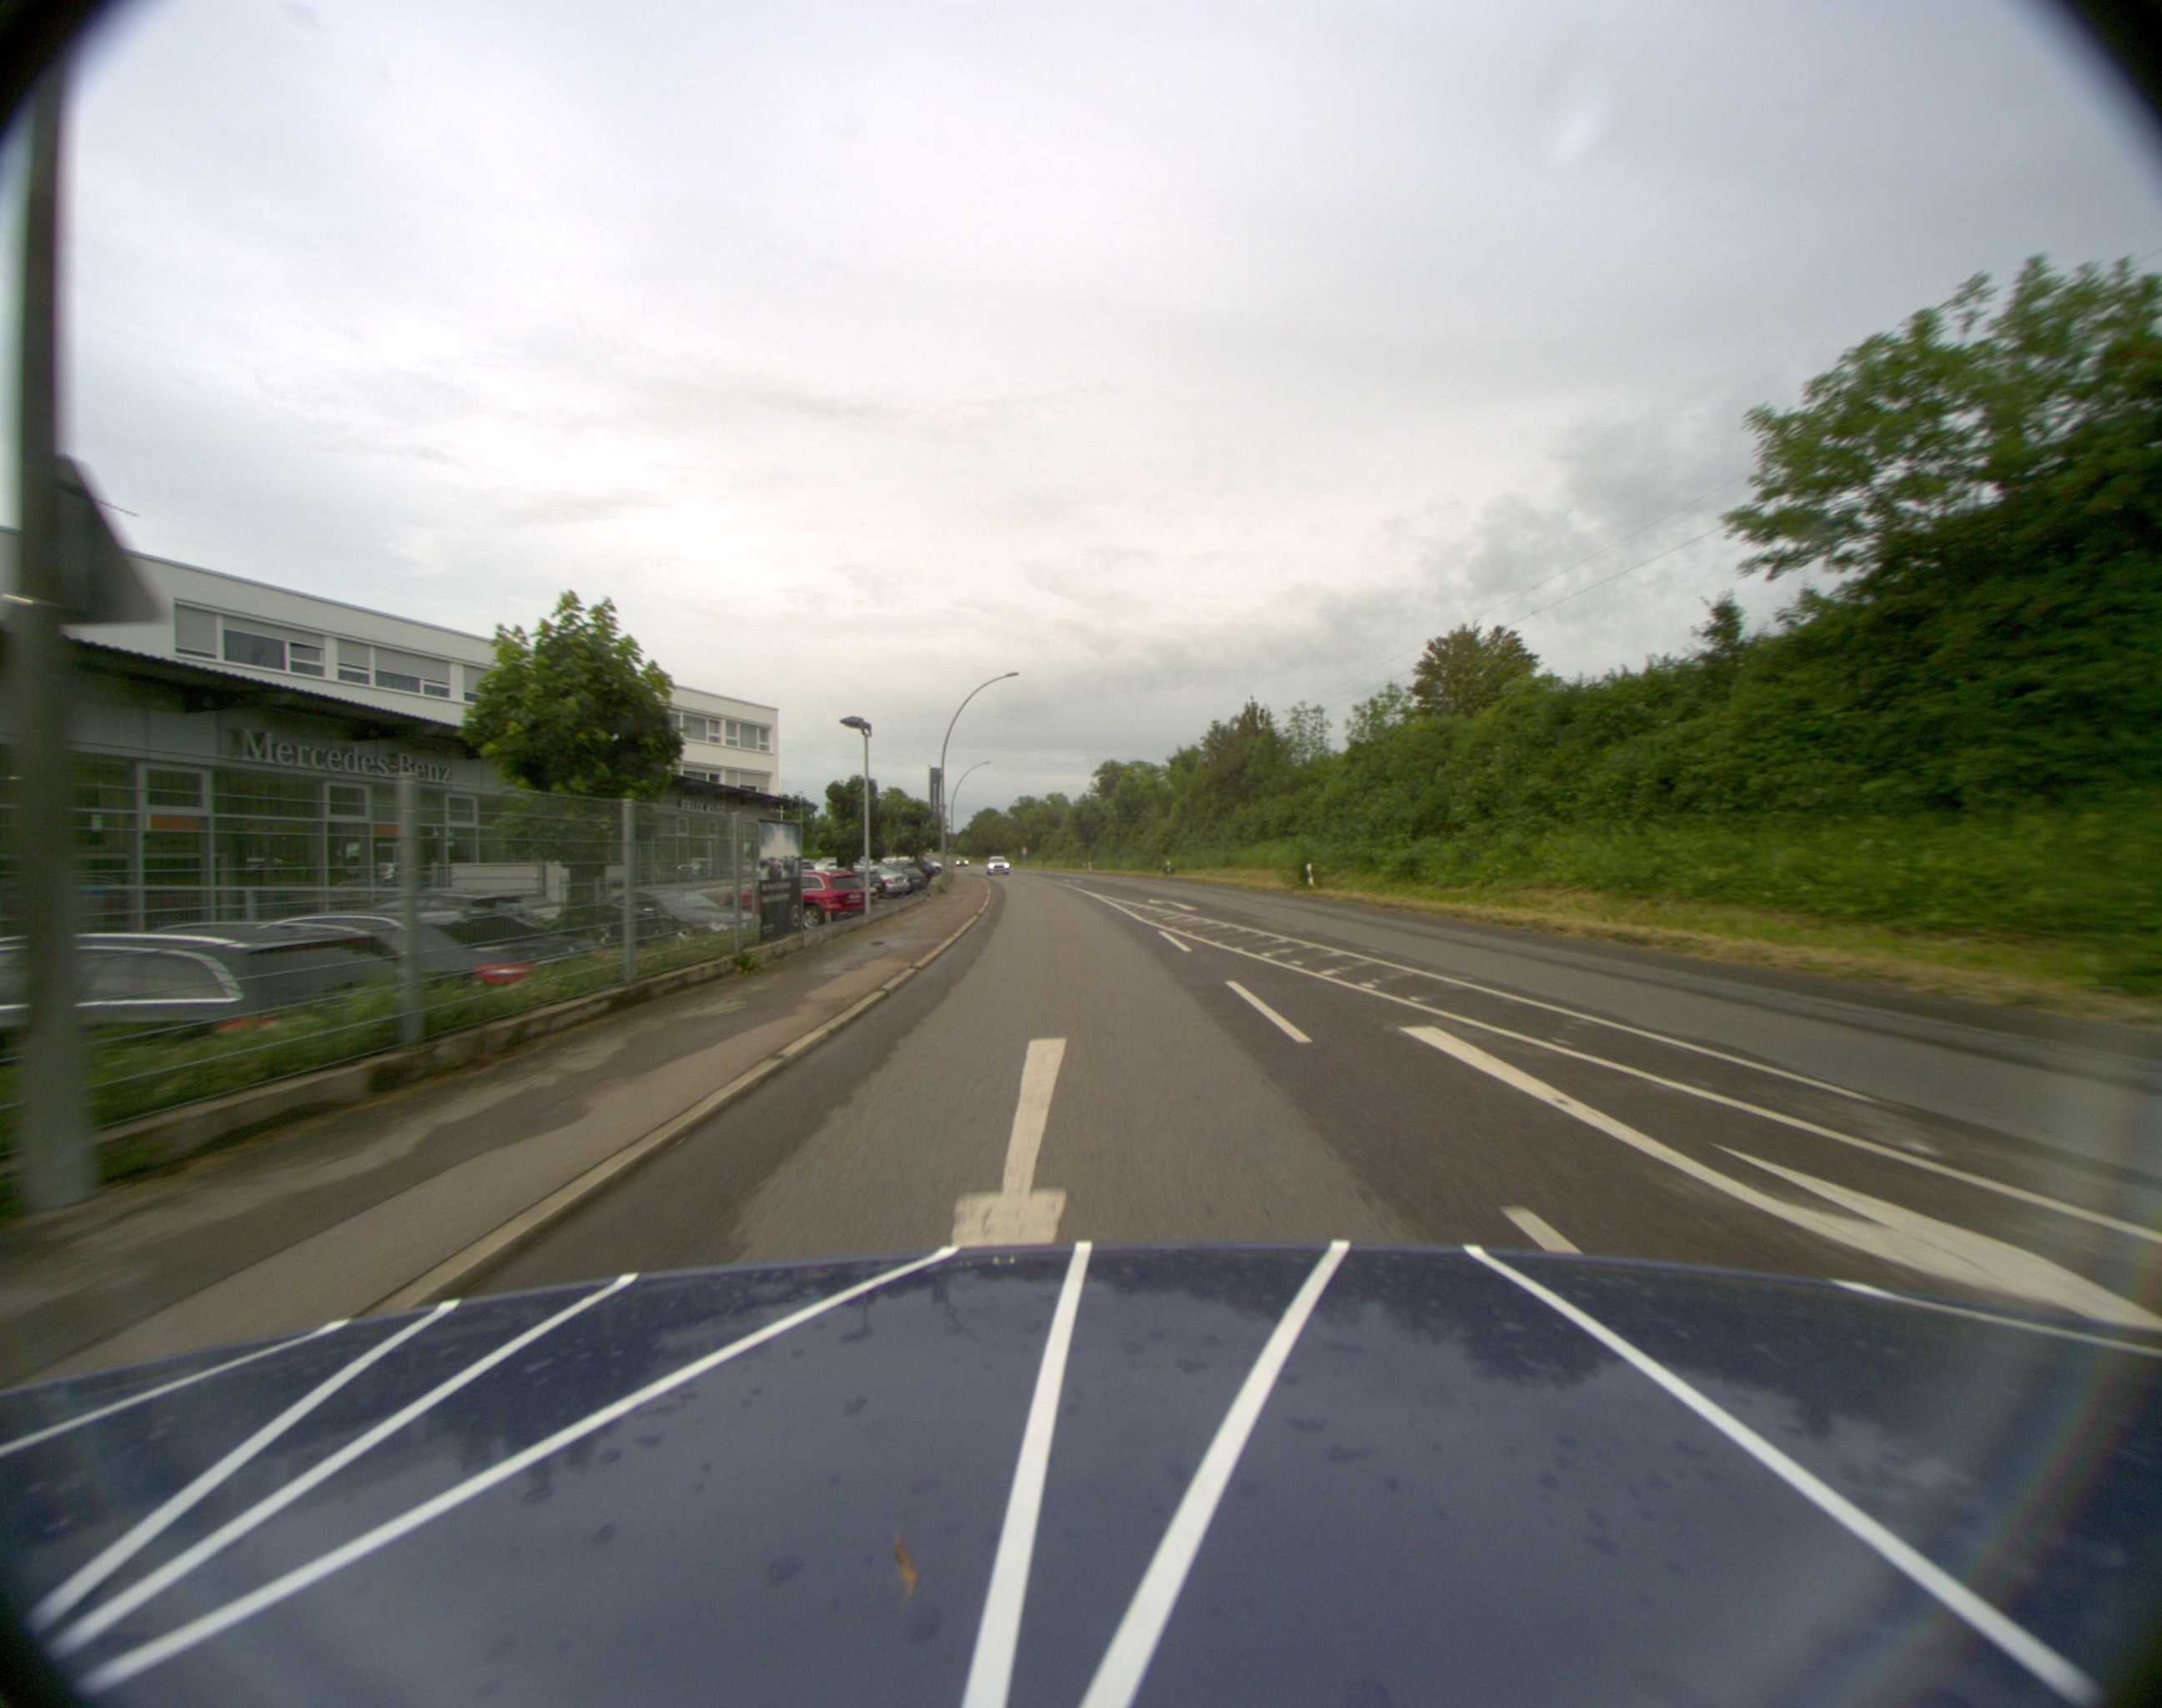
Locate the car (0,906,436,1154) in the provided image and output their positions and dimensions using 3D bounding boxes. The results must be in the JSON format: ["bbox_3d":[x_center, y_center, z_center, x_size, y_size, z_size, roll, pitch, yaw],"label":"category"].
[{"bbox_3d":[-7.686,1.290,5.753,3.998,1.400,1.592,-3,2,-5],"label":"car"}]

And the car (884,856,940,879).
[{"bbox_3d":[-12.992,1.020,58.521,1.838,1.623,4.374,1,1,27],"label":"car"}]

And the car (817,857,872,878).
[{"bbox_3d":[-18.573,1.031,59.868,1.899,1.536,4.007,-1,0,25],"label":"car"}]

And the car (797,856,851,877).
[{"bbox_3d":[-20.835,1.006,61.658,1.899,1.536,4.007,-1,0,24],"label":"car"}]

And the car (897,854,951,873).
[{"bbox_3d":[-14.196,0.859,68.795,4.437,1.643,1.921,-1,1,-45],"label":"car"}]

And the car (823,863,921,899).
[{"bbox_3d":[-9.608,1.190,34.898,4.163,1.459,1.840,1,2,27],"label":"car"}]

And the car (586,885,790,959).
[{"bbox_3d":[-8.855,1.451,17.119,4.155,1.433,1.813,-1,0,23],"label":"car"}]

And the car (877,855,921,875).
[{"bbox_3d":[-15.391,0.900,64.429,1.660,1.590,3.565,1,1,27],"label":"car"}]

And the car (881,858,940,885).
[{"bbox_3d":[-10.594,1.069,46.999,1.846,1.598,4.537,0,-1,-37],"label":"car"}]

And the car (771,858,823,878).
[{"bbox_3d":[-21.545,1.042,57.614,3.553,1.469,1.784,0,0,28],"label":"car"}]

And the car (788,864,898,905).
[{"bbox_3d":[-10.020,1.275,32.028,3.960,1.484,1.978,-2,2,22],"label":"car"}]

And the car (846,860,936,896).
[{"bbox_3d":[-9.359,1.168,37.411,3.990,1.547,1.902,-2,2,30],"label":"car"}]

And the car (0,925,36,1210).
[{"bbox_3d":[-8.195,1.336,3.416,4.184,1.589,1.968,-3,2,1],"label":"car"}]

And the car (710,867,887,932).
[{"bbox_3d":[-8.337,1.351,22.456,4.687,1.653,2.002,-2,2,23],"label":"car"}]

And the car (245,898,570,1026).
[{"bbox_3d":[-9.175,1.435,10.610,2.726,1.436,1.999,1,2,-2],"label":"car"}]

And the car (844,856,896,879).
[{"bbox_3d":[-16.164,1.005,58.390,1.728,1.590,4.186,1,1,22],"label":"car"}]

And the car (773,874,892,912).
[{"bbox_3d":[-9.636,1.477,29.430,4.225,1.294,1.737,-1,3,23],"label":"car"}]

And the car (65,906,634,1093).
[{"bbox_3d":[-7.602,1.466,8.331,4.119,1.362,1.999,-3,2,-2],"label":"car"}]
